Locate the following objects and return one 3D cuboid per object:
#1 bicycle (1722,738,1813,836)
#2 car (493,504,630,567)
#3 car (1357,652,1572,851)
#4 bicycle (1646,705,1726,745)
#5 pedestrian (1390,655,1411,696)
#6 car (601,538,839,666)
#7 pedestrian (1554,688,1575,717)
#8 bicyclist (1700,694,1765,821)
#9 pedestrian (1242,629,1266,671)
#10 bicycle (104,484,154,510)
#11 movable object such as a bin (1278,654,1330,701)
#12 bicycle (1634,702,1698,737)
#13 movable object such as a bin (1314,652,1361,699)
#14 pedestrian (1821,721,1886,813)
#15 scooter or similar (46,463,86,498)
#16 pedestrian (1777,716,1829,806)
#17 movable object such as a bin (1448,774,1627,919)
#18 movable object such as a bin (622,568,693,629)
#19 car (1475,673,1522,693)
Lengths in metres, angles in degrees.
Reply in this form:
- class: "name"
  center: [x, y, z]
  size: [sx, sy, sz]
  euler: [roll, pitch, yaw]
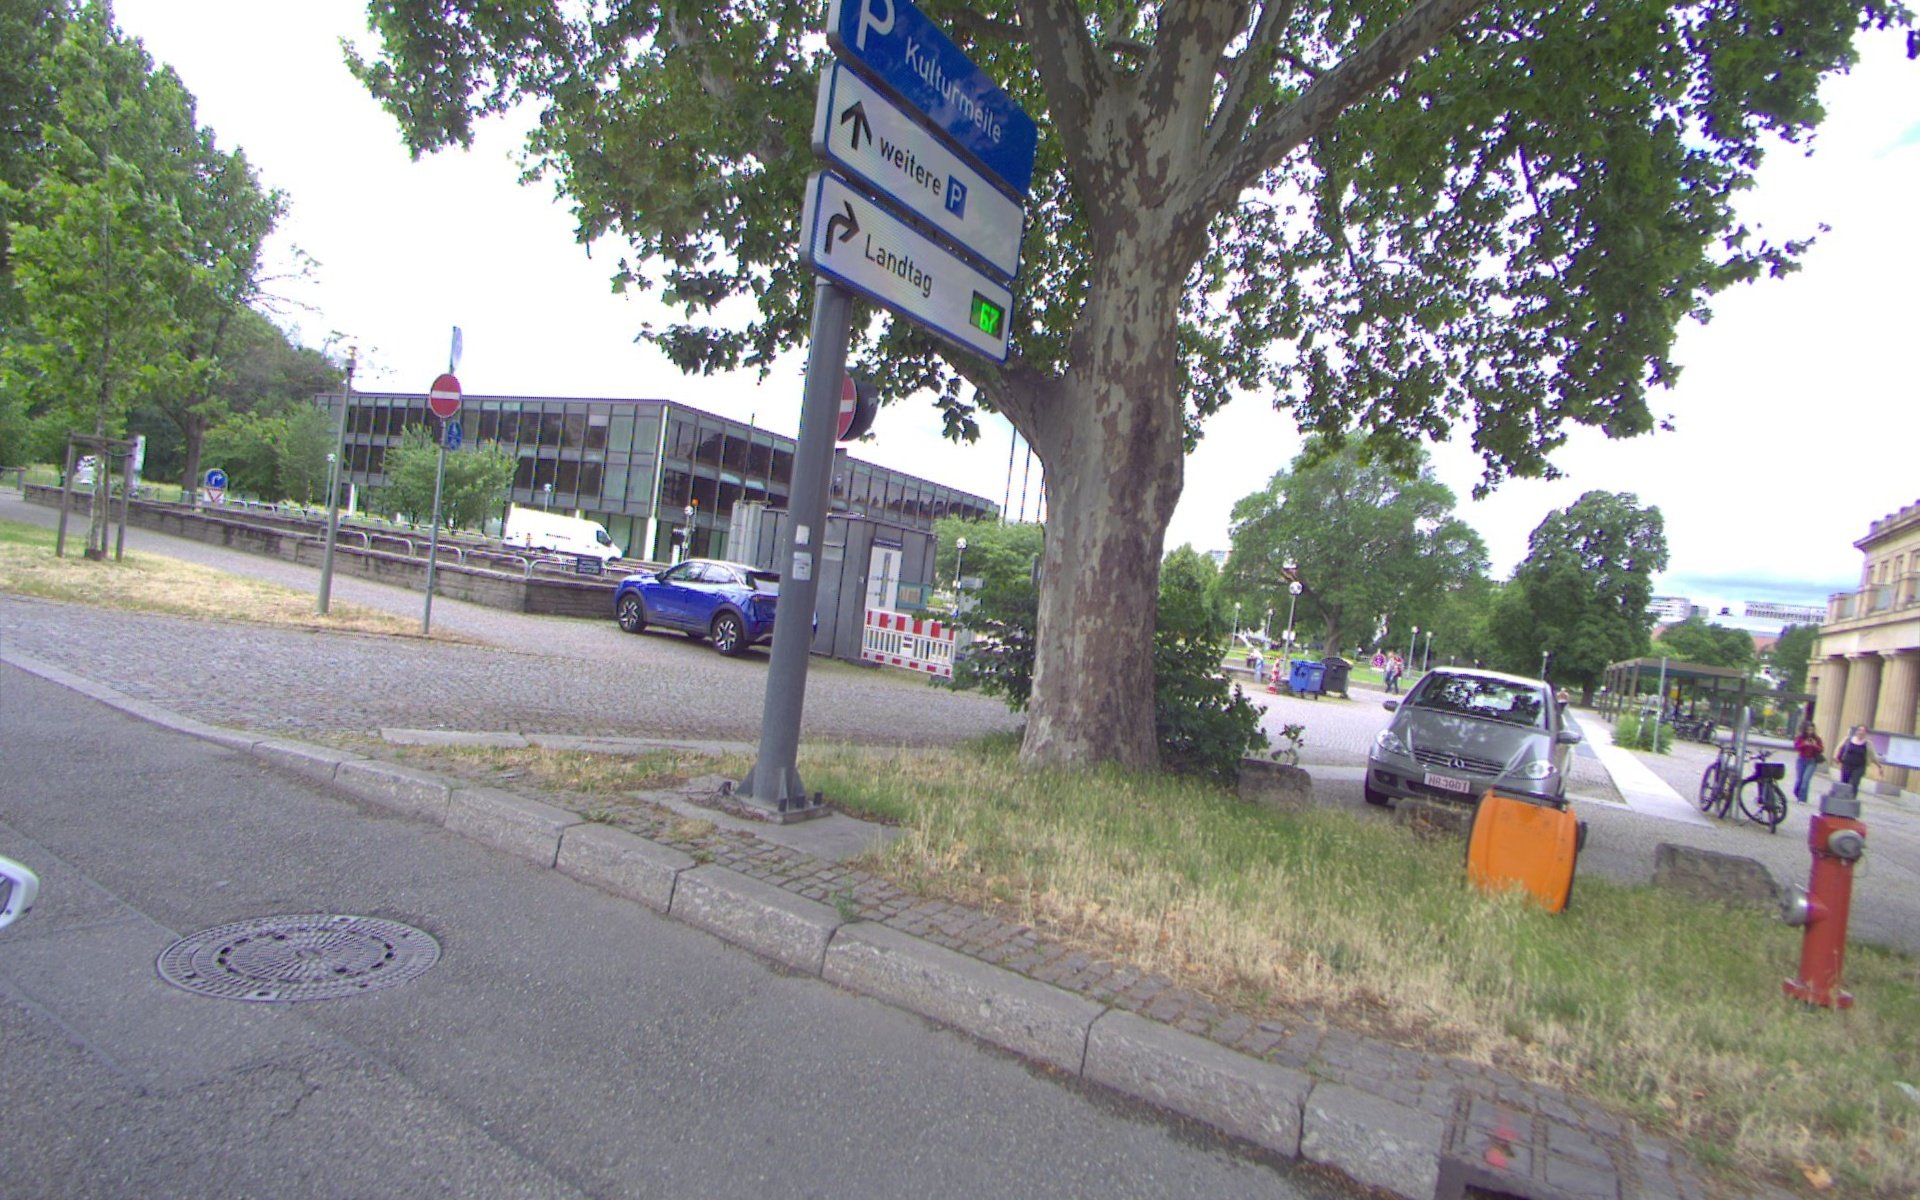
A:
- class: "bicycle"
  center: [11.599, 2.655, 14.503]
  size: [0.435, 1.146, 1.754]
  euler: [8, 0, 23]
- class: "car"
  center: [-20.433, -3.284, 51.890]
  size: [2.362, 2.288, 6.113]
  euler: [8, 0, 33]
- class: "car"
  center: [5.728, 1.544, 11.211]
  size: [1.651, 1.587, 3.841]
  euler: [8, 0, 31]
- class: "bicycle"
  center: [34.679, 5.972, 48.136]
  size: [2.848, 1.442, 0.961]
  euler: [7, -1, 28]
- class: "pedestrian"
  center: [20.628, 3.540, 47.116]
  size: [0.537, 1.826, 0.500]
  euler: [8, -1, 4]
- class: "car"
  center: [-4.318, 0.021, 17.907]
  size: [3.961, 1.571, 1.761]
  euler: [10, 2, 34]
- class: "pedestrian"
  center: [40.923, 6.929, 68.100]
  size: [0.929, 1.826, 0.546]
  euler: [8, -1, 4]
- class: "bicyclist"
  center: [11.380, 2.310, 14.839]
  size: [0.466, 1.770, 0.437]
  euler: [8, 1, 24]
- class: "pedestrian"
  center: [15.153, 2.589, 51.813]
  size: [0.799, 2.037, 0.624]
  euler: [9, -1, -39]
- class: "bicycle"
  center: [-40.690, -5.049, 49.275]
  size: [2.740, 0.986, 0.956]
  euler: [7, -2, 31]
- class: "movable object such as a bin"
  center: [11.130, 2.499, 32.544]
  size: [1.134, 1.320, 1.410]
  euler: [8, 1, 33]
- class: "bicycle"
  center: [36.360, 6.150, 51.845]
  size: [2.536, 1.360, 0.726]
  euler: [7, -1, 32]
- class: "movable object such as a bin"
  center: [13.675, 2.751, 36.415]
  size: [1.134, 1.515, 1.409]
  euler: [8, 1, 33]
- class: "pedestrian"
  center: [18.598, 3.453, 20.950]
  size: [0.692, 1.744, 0.680]
  euler: [8, 1, 30]
- class: "scooter or similar"
  center: [-37.454, -5.004, 42.130]
  size: [2.190, 1.259, 0.636]
  euler: [7, -1, 34]
- class: "pedestrian"
  center: [17.238, 3.277, 20.578]
  size: [0.559, 1.716, 0.430]
  euler: [8, 1, 30]
- class: "movable object such as a bin"
  center: [3.652, 1.495, 6.319]
  size: [0.718, 0.659, 1.299]
  euler: [6, -3, 40]
- class: "movable object such as a bin"
  center: [-6.216, -0.029, 20.705]
  size: [0.757, 1.078, 1.009]
  euler: [11, 3, 29]
- class: "car"
  center: [67.764, 10.427, 126.664]
  size: [4.834, 1.758, 2.074]
  euler: [7, -2, 35]
